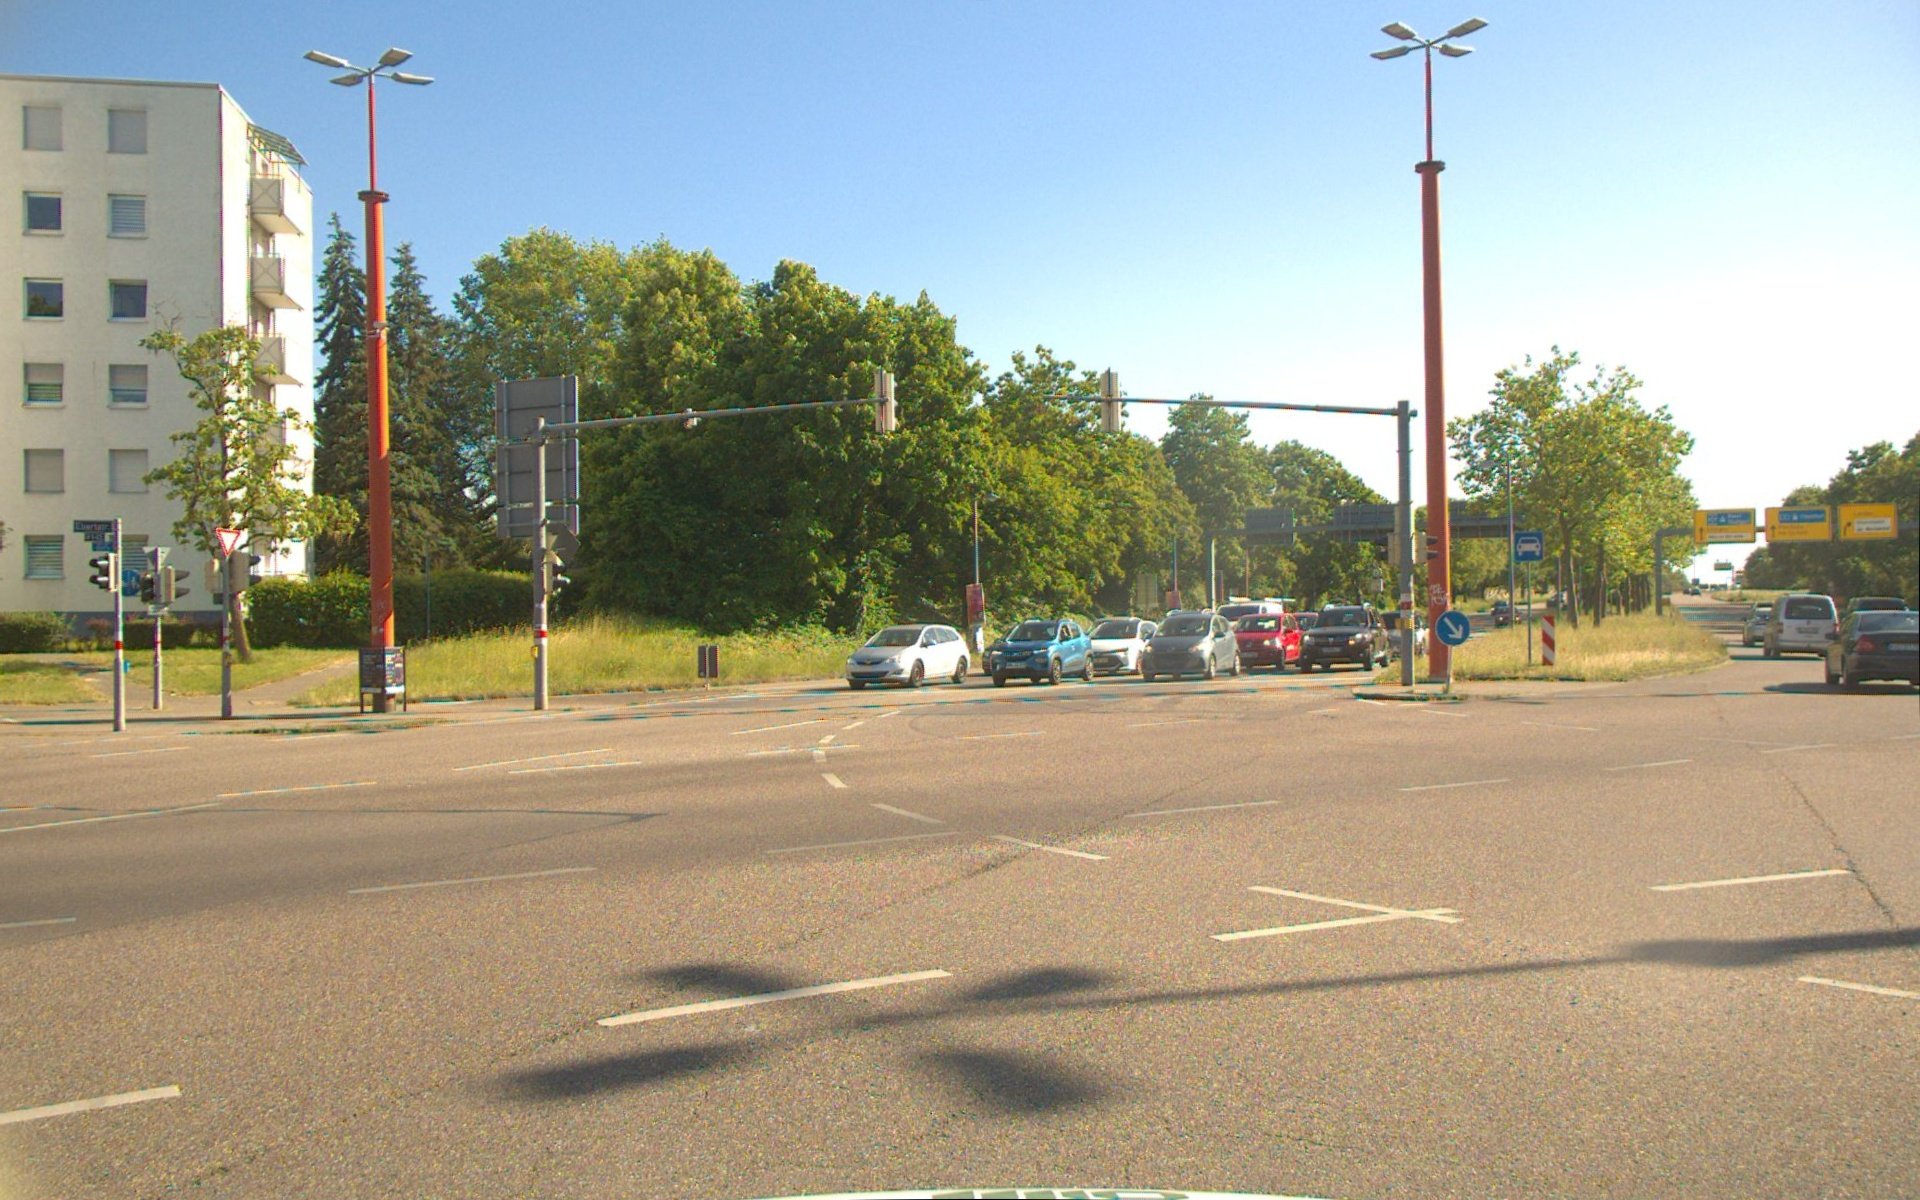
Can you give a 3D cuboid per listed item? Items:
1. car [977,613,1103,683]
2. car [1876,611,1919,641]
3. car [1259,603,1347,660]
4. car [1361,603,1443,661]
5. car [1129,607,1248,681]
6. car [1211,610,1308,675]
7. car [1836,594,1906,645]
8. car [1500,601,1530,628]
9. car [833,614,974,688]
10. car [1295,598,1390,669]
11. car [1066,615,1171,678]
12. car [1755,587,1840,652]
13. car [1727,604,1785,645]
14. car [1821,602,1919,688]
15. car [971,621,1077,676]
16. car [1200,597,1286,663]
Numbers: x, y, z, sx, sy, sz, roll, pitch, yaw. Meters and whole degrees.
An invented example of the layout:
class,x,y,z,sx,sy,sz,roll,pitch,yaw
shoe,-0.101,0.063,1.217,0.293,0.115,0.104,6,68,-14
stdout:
class,x,y,z,sx,sy,sz,roll,pitch,yaw
car,1.960,1.113,39.460,1.764,1.542,3.858,-3,-1,22
car,49.400,1.367,87.086,1.562,1.517,3.681,0,-1,22
car,10.508,0.961,50.519,1.863,1.658,3.998,-1,-1,23
car,13.031,0.924,48.623,1.847,1.570,4.000,-2,-1,22
car,5.480,1.014,39.251,1.836,1.578,4.027,-3,-1,22
car,8.191,1.126,44.985,1.836,1.579,4.000,-4,-2,20
car,35.228,0.736,64.048,1.768,1.884,5.102,-2,-1,23
car,39.528,1.044,117.786,1.875,1.878,3.963,-1,-1,17
car,-1.320,1.233,40.521,1.839,1.681,4.217,-2,-2,23
car,9.734,0.817,41.897,1.757,1.655,4.143,-3,-1,21
car,4.368,1.238,45.117,1.862,1.582,4.000,-2,-1,20
car,24.959,0.597,49.410,1.767,1.853,4.587,0,-1,21
car,30.570,0.947,63.628,1.768,1.519,4.681,0,-1,23
car,17.346,0.795,30.872,1.677,1.479,4.199,-1,-1,20
car,1.945,1.422,49.358,1.847,1.539,3.999,-2,-1,23
car,9.899,1.017,57.494,1.921,2.193,5.081,-1,-1,21
